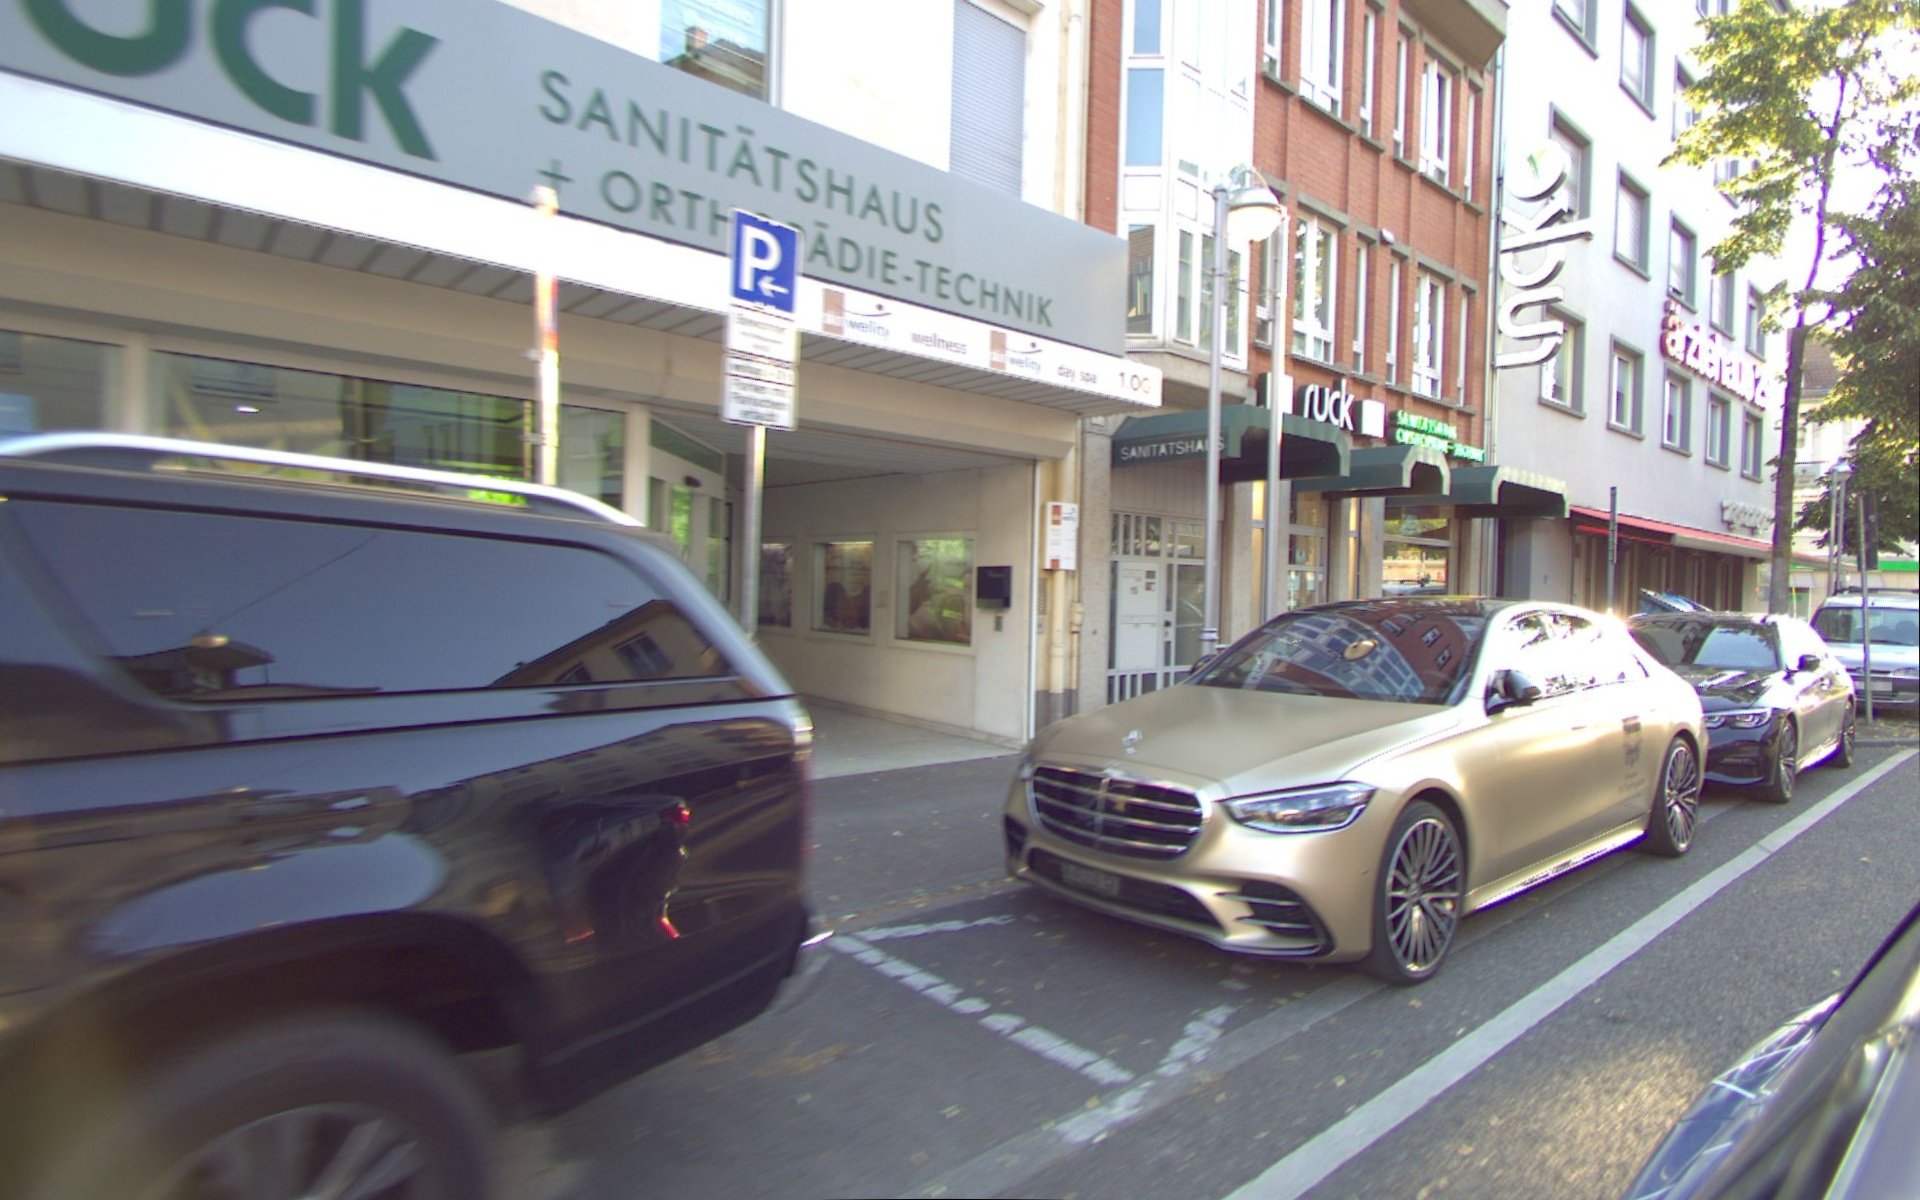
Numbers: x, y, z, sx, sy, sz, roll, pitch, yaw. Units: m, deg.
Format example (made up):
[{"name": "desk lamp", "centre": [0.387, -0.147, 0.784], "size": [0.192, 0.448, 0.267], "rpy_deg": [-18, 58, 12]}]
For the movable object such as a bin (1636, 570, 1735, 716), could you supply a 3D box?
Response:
[{"name": "movable object such as a bin", "centre": [9.480, 0.521, 13.220], "size": [1.331, 1.796, 0.835], "rpy_deg": [0, 0, -44]}]

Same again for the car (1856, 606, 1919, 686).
[{"name": "car", "centre": [18.561, 0.838, 19.180], "size": [4.110, 1.394, 1.940], "rpy_deg": [0, 0, -42]}]

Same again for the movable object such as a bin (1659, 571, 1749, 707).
[{"name": "movable object such as a bin", "centre": [10.389, 0.509, 14.122], "size": [1.186, 1.796, 0.835], "rpy_deg": [0, 0, -44]}]

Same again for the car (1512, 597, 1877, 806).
[{"name": "car", "centre": [6.795, 0.720, 9.160], "size": [4.430, 1.438, 1.755], "rpy_deg": [1, 0, -41]}]

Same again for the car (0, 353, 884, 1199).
[{"name": "car", "centre": [-2.652, 0.533, 1.567], "size": [4.972, 1.776, 1.886], "rpy_deg": [-1, 1, -42]}]

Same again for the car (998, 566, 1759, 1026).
[{"name": "car", "centre": [2.646, 0.630, 5.652], "size": [4.903, 1.546, 1.816], "rpy_deg": [-1, 1, -39]}]

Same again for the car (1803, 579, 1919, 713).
[{"name": "car", "centre": [14.064, 0.632, 15.267], "size": [3.944, 1.801, 1.656], "rpy_deg": [1, 0, -44]}]
